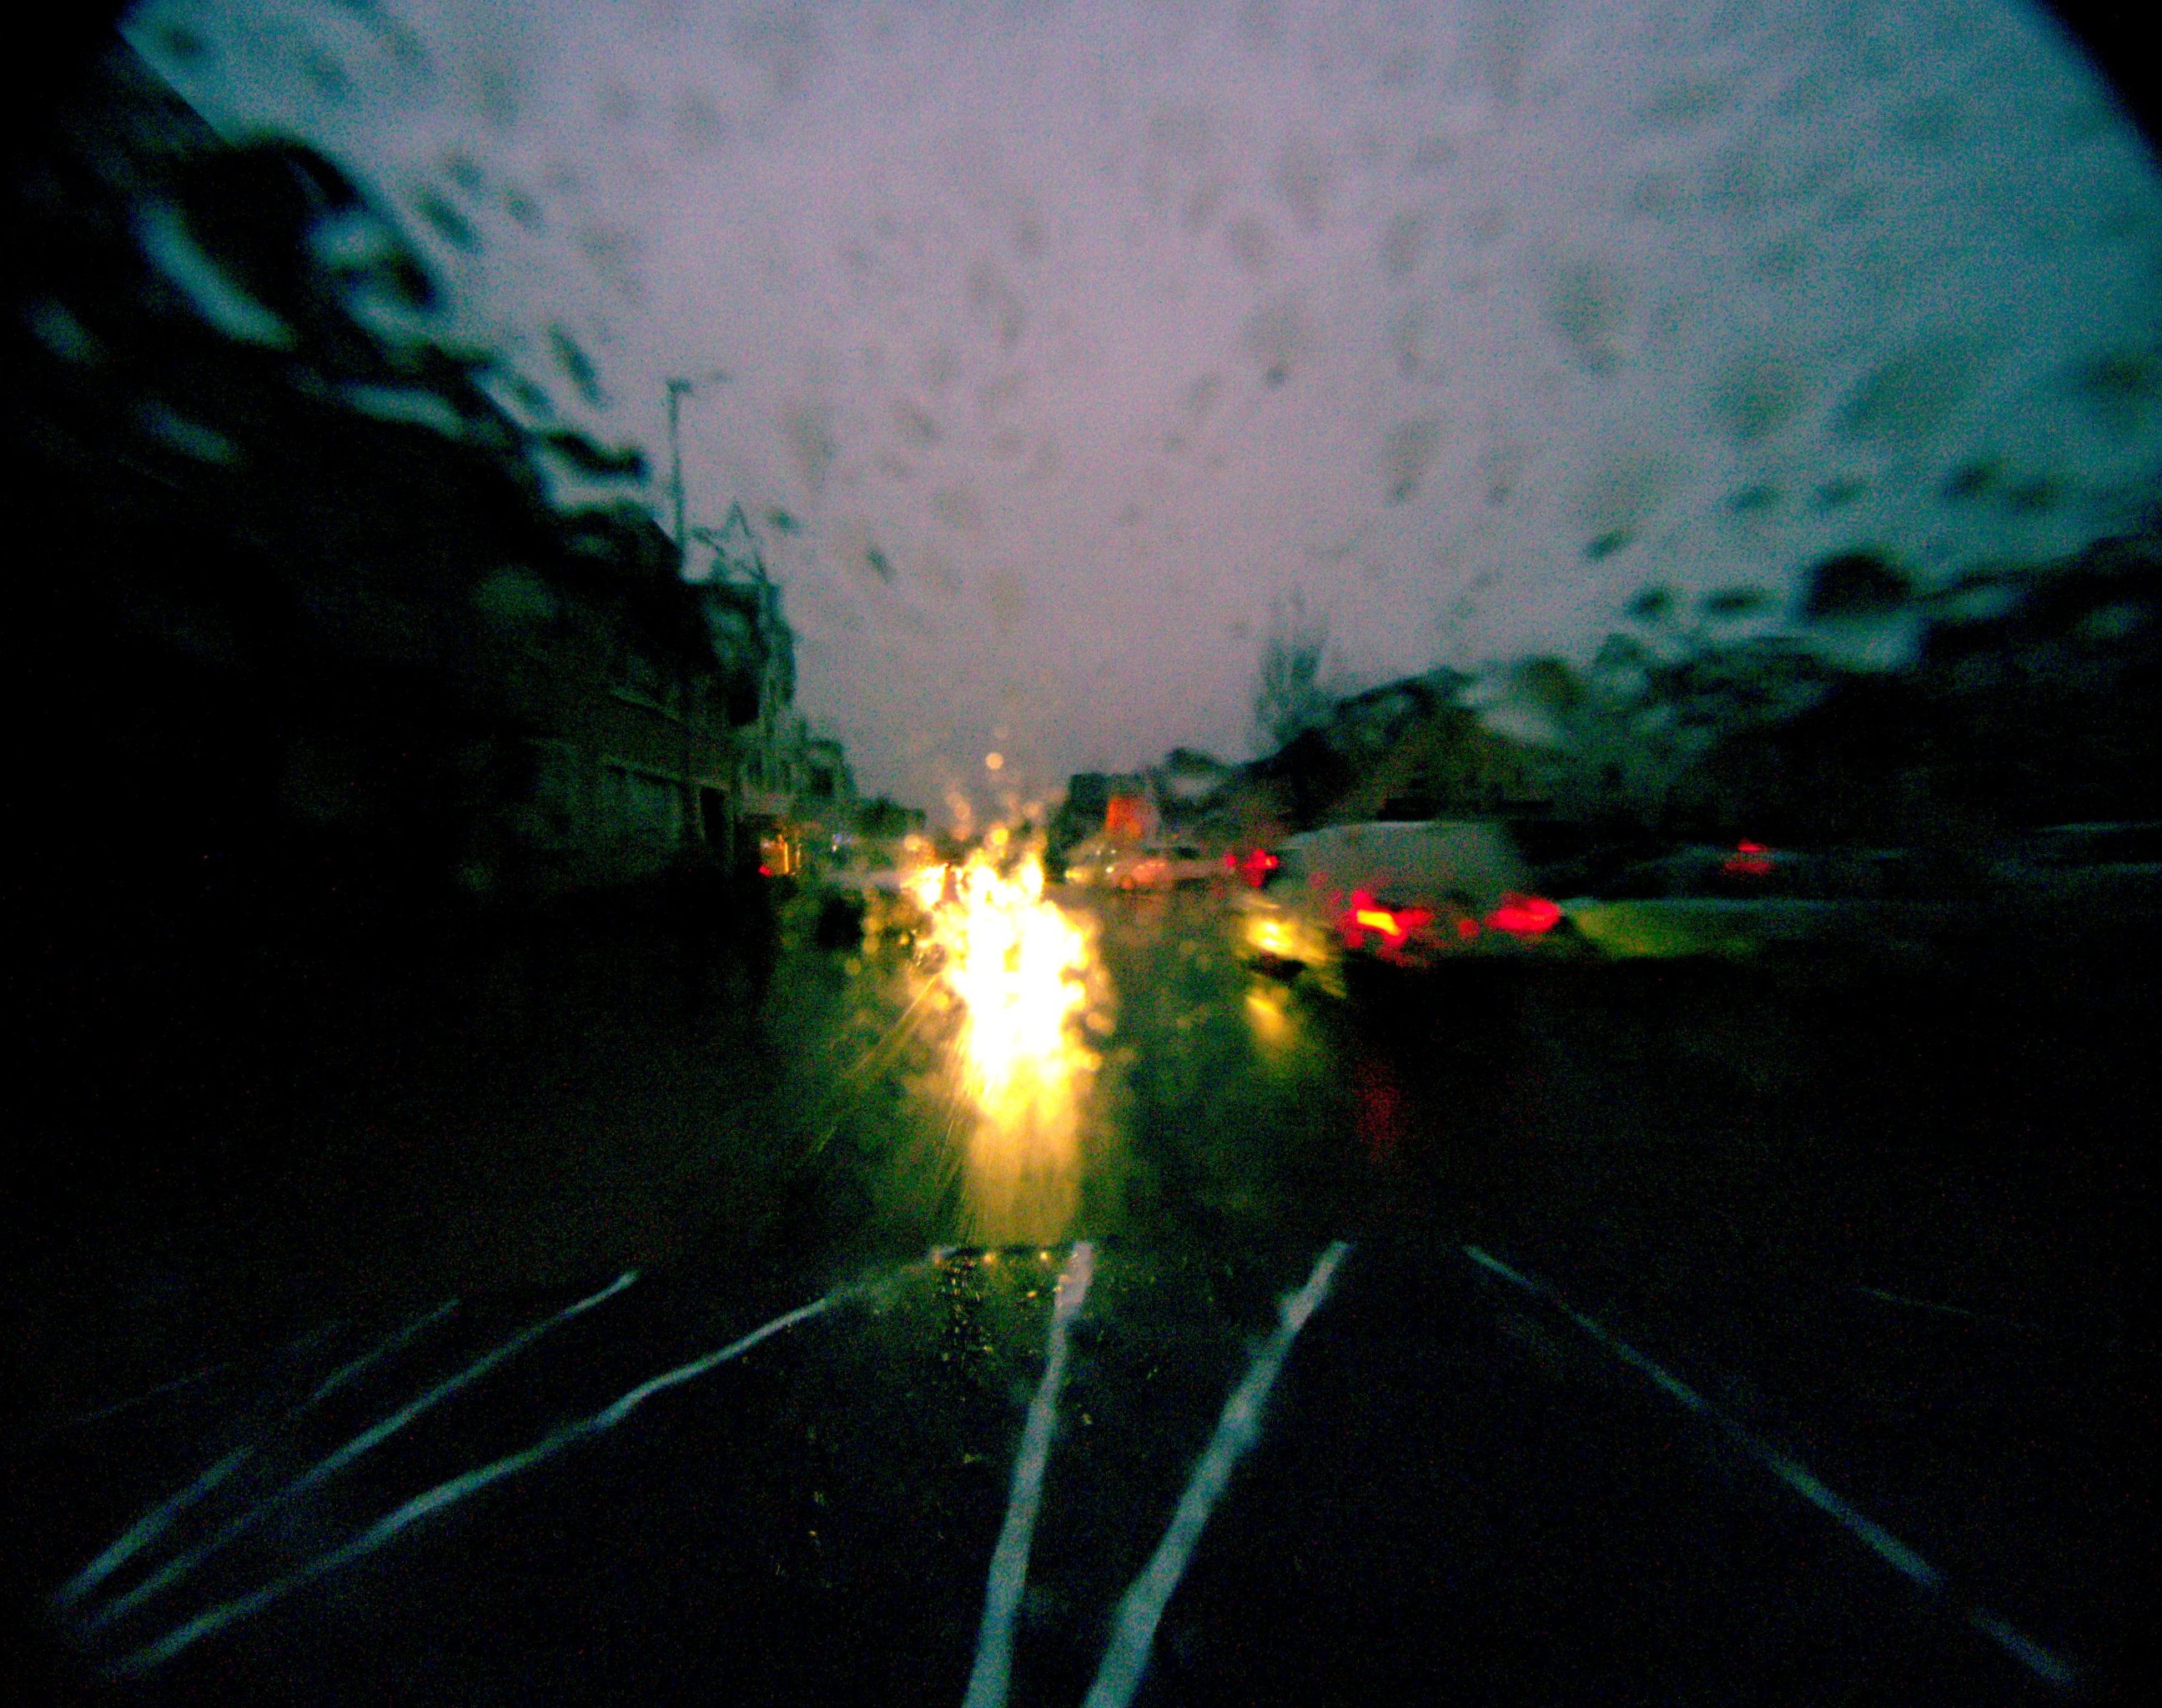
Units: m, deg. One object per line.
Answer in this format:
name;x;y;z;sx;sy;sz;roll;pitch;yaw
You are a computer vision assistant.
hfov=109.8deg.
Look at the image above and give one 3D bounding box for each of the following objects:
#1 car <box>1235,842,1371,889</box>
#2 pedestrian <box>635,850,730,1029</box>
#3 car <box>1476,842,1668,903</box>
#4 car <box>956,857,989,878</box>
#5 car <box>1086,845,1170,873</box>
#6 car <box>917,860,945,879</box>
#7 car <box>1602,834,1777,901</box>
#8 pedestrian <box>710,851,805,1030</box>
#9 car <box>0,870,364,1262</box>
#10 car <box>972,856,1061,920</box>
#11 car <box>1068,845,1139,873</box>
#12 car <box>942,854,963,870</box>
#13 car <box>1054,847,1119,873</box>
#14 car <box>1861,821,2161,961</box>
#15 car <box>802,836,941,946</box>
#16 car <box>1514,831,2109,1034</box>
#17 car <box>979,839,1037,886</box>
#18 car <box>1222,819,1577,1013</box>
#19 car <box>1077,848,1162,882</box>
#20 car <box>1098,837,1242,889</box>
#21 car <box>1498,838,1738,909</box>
car;8.285;0.387;28.510;4.451;1.623;2.152;-1;1;-14
pedestrian;-3.886;0.789;7.462;0.581;1.659;0.790;0;1;-9
car;12.590;0.463;19.789;3.924;1.450;1.765;0;0;21
car;-8.064;0.968;56.139;1.833;1.509;4.542;0;0;-16
car;2.925;0.299;47.847;4.883;1.674;1.998;-1;-1;-12
car;-10.580;1.053;53.472;1.667;1.205;3.772;-1;0;-15
car;17.616;0.337;22.260;1.720;1.718;3.998;-2;1;-4
pedestrian;-3.225;0.816;7.645;0.715;1.689;0.803;0;1;-12
car;-5.309;0.883;3.161;1.740;1.552;3.659;0;0;-13
car;-2.099;0.915;23.147;2.272;1.633;5.061;-1;1;-9
car;1.534;0.353;52.367;4.520;1.855;1.866;-1;0;-15
car;-12.023;0.735;70.927;1.626;1.471;3.834;0;-1;-15
car;0.397;0.451;55.601;4.430;1.790;1.842;-1;0;-15
car;13.466;0.411;9.577;4.644;1.644;1.991;0;1;25
car;-4.182;0.664;16.026;1.979;1.948;4.849;-1;0;-5
car;7.043;0.602;8.099;1.911;1.524;4.252;-1;0;-11
car;-4.212;0.454;42.938;2.203;2.476;6.134;-1;0;-15
car;3.357;0.559;9.311;1.951;1.740;4.848;1;0;-5
car;1.962;0.564;39.371;4.002;1.674;1.997;-1;0;-15
car;3.687;0.366;32.232;5.775;1.934;1.991;-2;0;-1
car;11.813;0.399;17.047;4.065;1.451;1.760;-1;1;20
